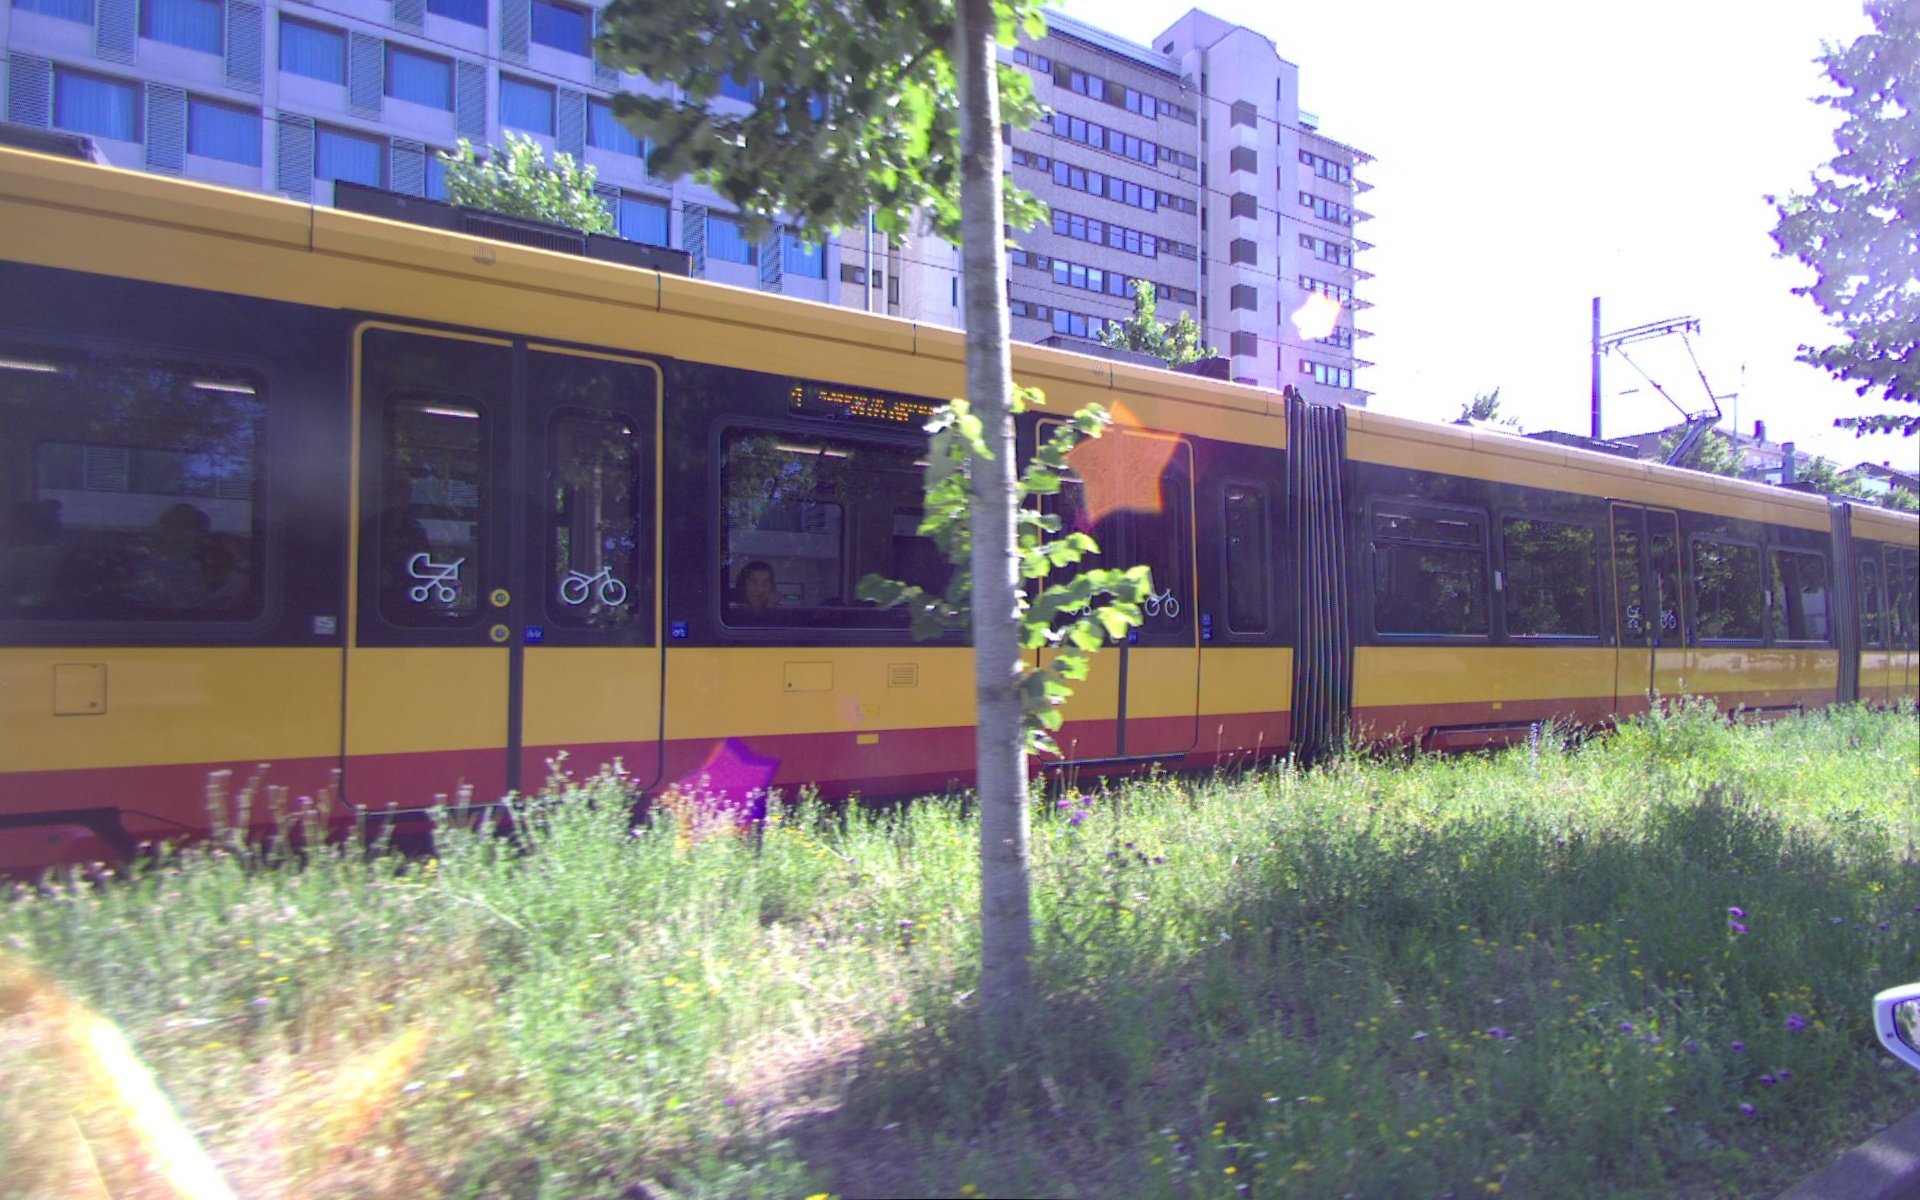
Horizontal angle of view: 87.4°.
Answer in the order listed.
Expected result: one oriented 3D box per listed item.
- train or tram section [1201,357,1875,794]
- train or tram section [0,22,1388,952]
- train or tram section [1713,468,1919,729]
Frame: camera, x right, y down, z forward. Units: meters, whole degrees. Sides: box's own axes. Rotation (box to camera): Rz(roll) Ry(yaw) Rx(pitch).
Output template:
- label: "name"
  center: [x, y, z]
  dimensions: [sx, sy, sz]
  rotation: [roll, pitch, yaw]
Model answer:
- label: "train or tram section"
  center: [7.764, -0.073, 12.290]
  dimensions: [11.186, 3.718, 1.983]
  rotation: [2, -1, -31]
- label: "train or tram section"
  center: [-2.801, -0.402, 5.824]
  dimensions: [13.992, 3.718, 1.983]
  rotation: [2, -1, -32]
- label: "train or tram section"
  center: [17.506, 0.118, 18.124]
  dimensions: [11.547, 3.718, 1.984]
  rotation: [2, -1, -31]
